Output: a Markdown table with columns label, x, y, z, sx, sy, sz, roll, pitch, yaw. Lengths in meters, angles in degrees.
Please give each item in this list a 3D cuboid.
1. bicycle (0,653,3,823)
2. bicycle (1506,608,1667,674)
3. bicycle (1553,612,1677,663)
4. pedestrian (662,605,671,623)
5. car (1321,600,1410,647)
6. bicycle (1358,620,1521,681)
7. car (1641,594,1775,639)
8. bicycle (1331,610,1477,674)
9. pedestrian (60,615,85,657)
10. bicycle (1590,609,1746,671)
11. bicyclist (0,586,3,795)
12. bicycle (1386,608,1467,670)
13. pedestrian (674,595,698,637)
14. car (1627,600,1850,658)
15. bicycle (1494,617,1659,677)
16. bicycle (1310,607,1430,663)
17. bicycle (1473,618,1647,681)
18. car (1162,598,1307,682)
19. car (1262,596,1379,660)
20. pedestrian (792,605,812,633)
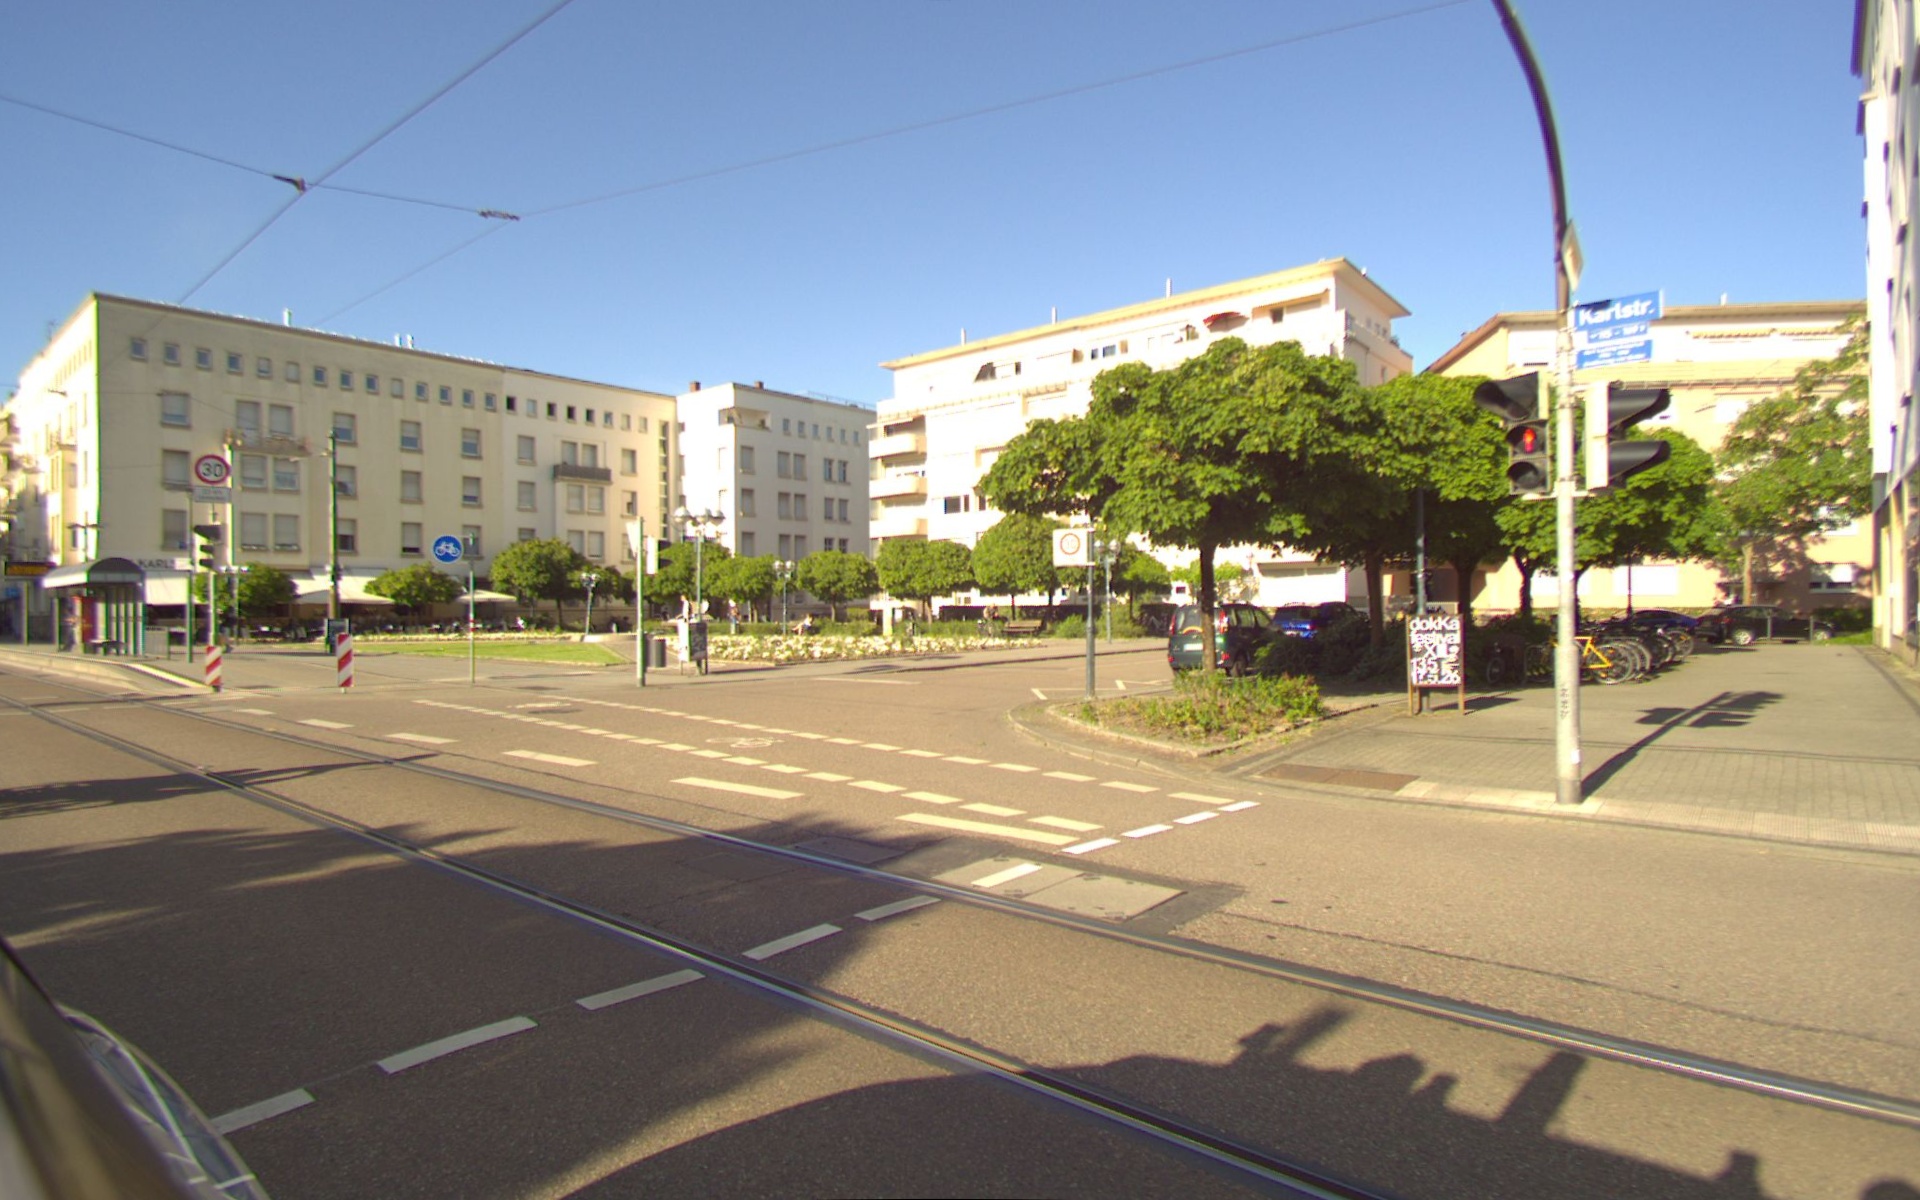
| label | x | y | z | sx | sy | sz | roll | pitch | yaw |
| --- | --- | --- | --- | --- | --- | --- | --- | --- | --- |
| bicycle | -7.713 | 0.995 | 7.525 | 1.752 | 1.207 | 0.757 | -1 | 0 | 43 |
| bicycle | 11.452 | 0.733 | 18.563 | 2.436 | 1.133 | 0.620 | -1 | 0 | 41 |
| bicycle | 14.248 | 0.795 | 22.056 | 2.226 | 1.057 | 0.620 | -1 | 0 | 37 |
| pedestrian | -20.262 | 0.967 | 69.845 | 0.499 | 1.231 | 0.396 | 0 | 0 | -44 |
| car | 13.584 | 0.751 | 33.778 | 1.621 | 1.460 | 3.939 | -1 | 0 | 40 |
| bicycle | 8.469 | 0.861 | 17.963 | 2.493 | 0.995 | 0.745 | -1 | 0 | 42 |
| car | 28.228 | 0.598 | 38.224 | 4.295 | 1.597 | 1.797 | -1 | -1 | -16 |
| bicycle | 8.328 | 0.760 | 19.055 | 2.436 | 1.133 | 0.620 | -1 | 0 | 41 |
| pedestrian | -32.343 | 1.292 | 36.871 | 0.609 | 1.501 | 0.545 | -1 | 0 | 34 |
| bicycle | 13.664 | 0.760 | 19.608 | 2.433 | 1.133 | 0.620 | -1 | 0 | 37 |
| bicyclist | -7.751 | 0.682 | 7.583 | 0.939 | 1.552 | 0.764 | -1 | 0 | 42 |
| bicycle | 9.256 | 0.735 | 20.181 | 0.620 | 1.133 | 2.434 | -1 | 0 | 4 |
| pedestrian | -11.355 | 0.649 | 41.897 | 0.827 | 1.708 | 0.668 | -1 | 0 | -3 |
| car | 18.123 | 0.661 | 23.683 | 3.998 | 1.240 | 1.714 | -1 | -1 | 41 |
| bicycle | 10.937 | 0.813 | 18.024 | 2.436 | 0.995 | 0.620 | -1 | 0 | 41 |
| bicycle | 8.807 | 0.733 | 21.733 | 2.398 | 1.133 | 0.630 | -1 | 0 | -10 |
| bicycle | 10.332 | 0.822 | 17.515 | 2.492 | 0.995 | 0.745 | -1 | 0 | 41 |
| car | 6.376 | 0.844 | 23.234 | 1.676 | 1.723 | 3.938 | -1 | 0 | 41 |
| car | 9.951 | 0.717 | 27.773 | 1.757 | 1.628 | 3.939 | -1 | 0 | 40 |
| pedestrian | -8.220 | 1.005 | 52.640 | 0.667 | 1.428 | 0.828 | -1 | 0 | 39 |
